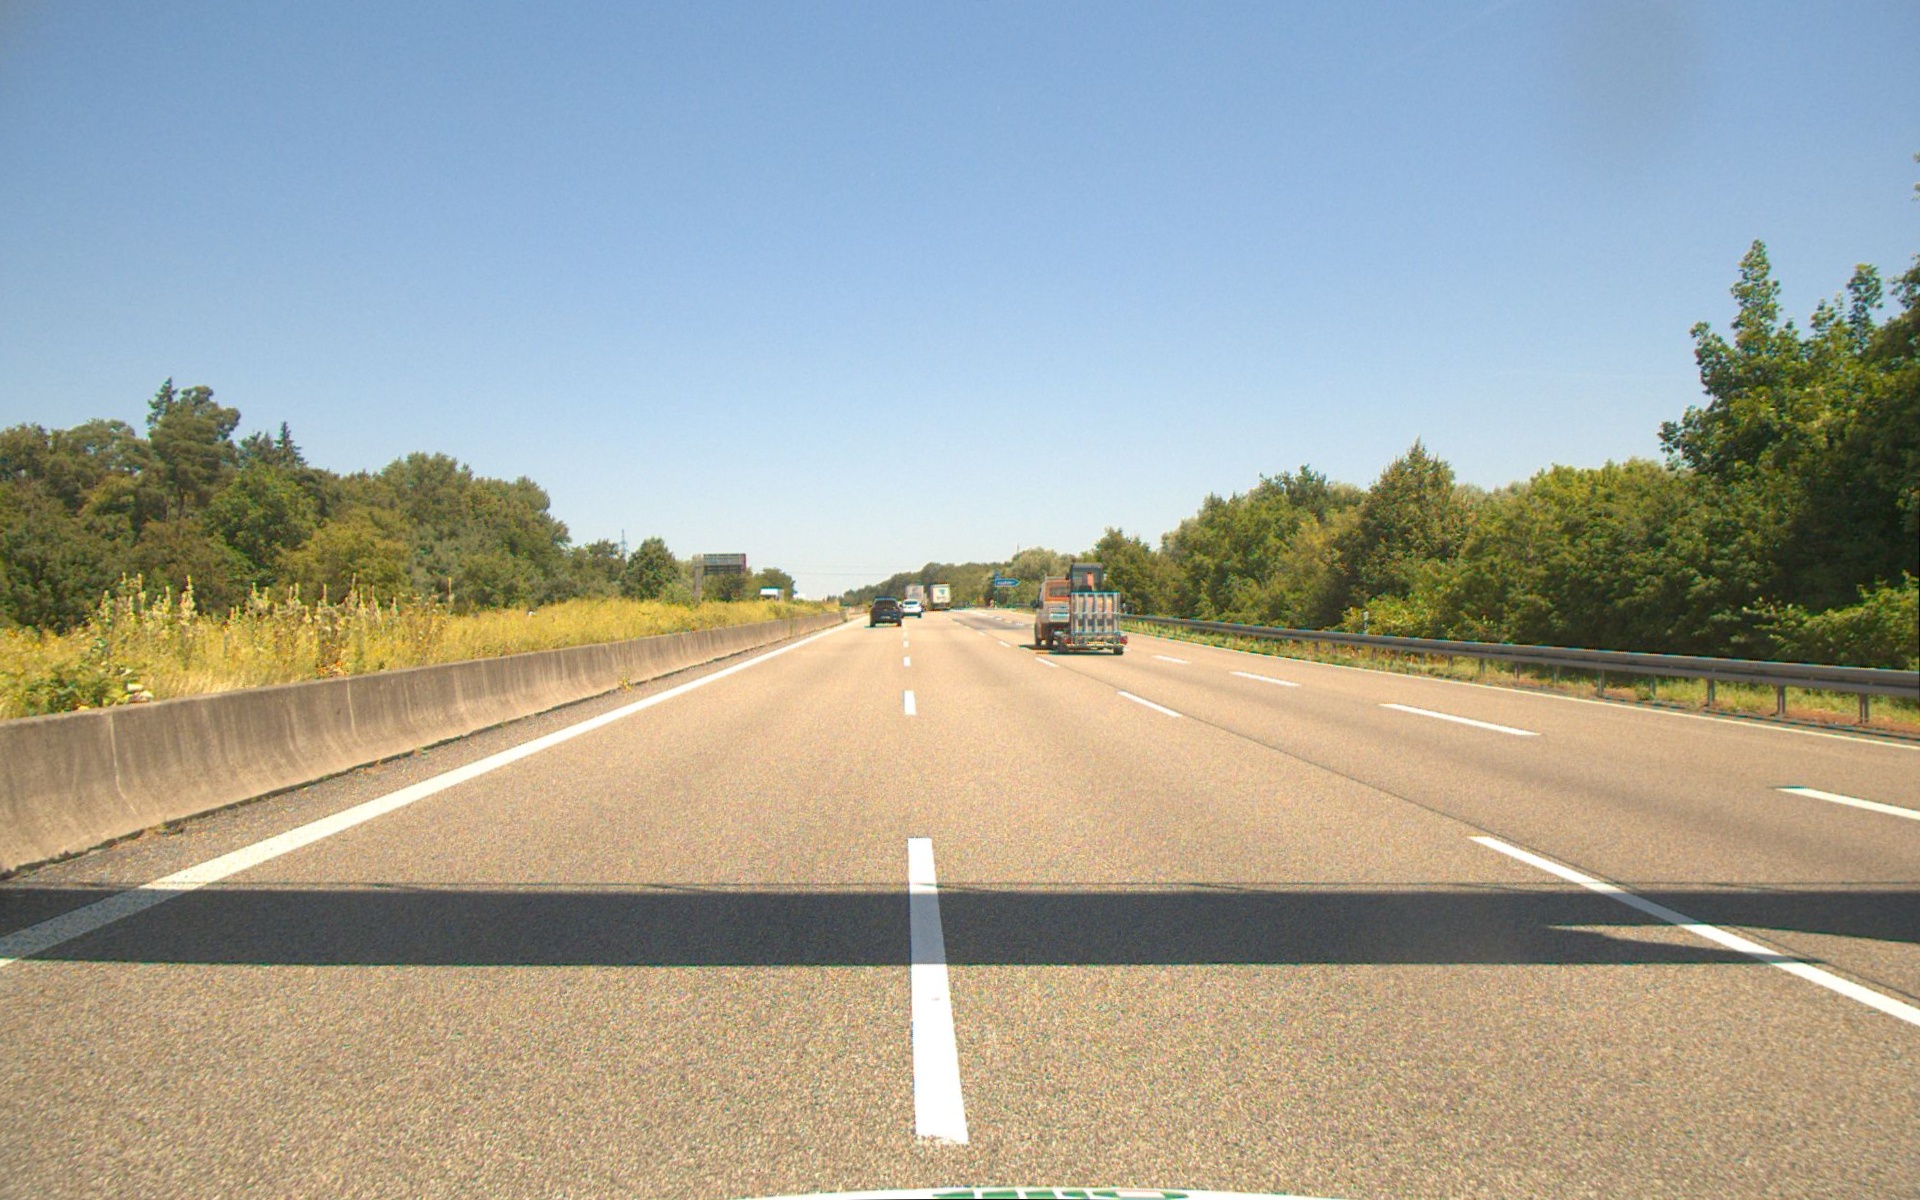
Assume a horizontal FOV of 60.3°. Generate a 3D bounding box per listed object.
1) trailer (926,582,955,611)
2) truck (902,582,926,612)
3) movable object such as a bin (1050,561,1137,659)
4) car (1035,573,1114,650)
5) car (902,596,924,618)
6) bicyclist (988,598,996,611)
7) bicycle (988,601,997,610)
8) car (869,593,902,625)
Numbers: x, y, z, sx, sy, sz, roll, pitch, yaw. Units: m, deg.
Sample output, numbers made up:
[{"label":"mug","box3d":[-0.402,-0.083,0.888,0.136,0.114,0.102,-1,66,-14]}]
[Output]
[{"label":"trailer","box3d":[-3.059,-0.535,252.806,3.304,4.215,9.076,1,0,-7]},{"label":"truck","box3d":[-6.577,-0.421,236.523,3.165,4.276,8.460,0,0,-3]},{"label":"movable object such as a bin","box3d":[4.116,0.298,51.781,2.130,2.864,4.759,-2,0,-2]},{"label":"car","box3d":[3.928,0.401,57.811,1.953,2.447,7.223,-2,0,-2]},{"label":"car","box3d":[-4.292,0.606,150.494,1.953,1.907,3.998,-1,0,-2]},{"label":"bicyclist","box3d":[4.135,0.531,212.118,0.940,1.623,0.808,1,-1,6]},{"label":"bicycle","box3d":[4.137,0.744,212.017,0.940,1.178,2.609,1,0,6]},{"label":"car","box3d":[-4.646,0.544,103.513,1.953,1.907,3.998,-2,0,-2]}]
